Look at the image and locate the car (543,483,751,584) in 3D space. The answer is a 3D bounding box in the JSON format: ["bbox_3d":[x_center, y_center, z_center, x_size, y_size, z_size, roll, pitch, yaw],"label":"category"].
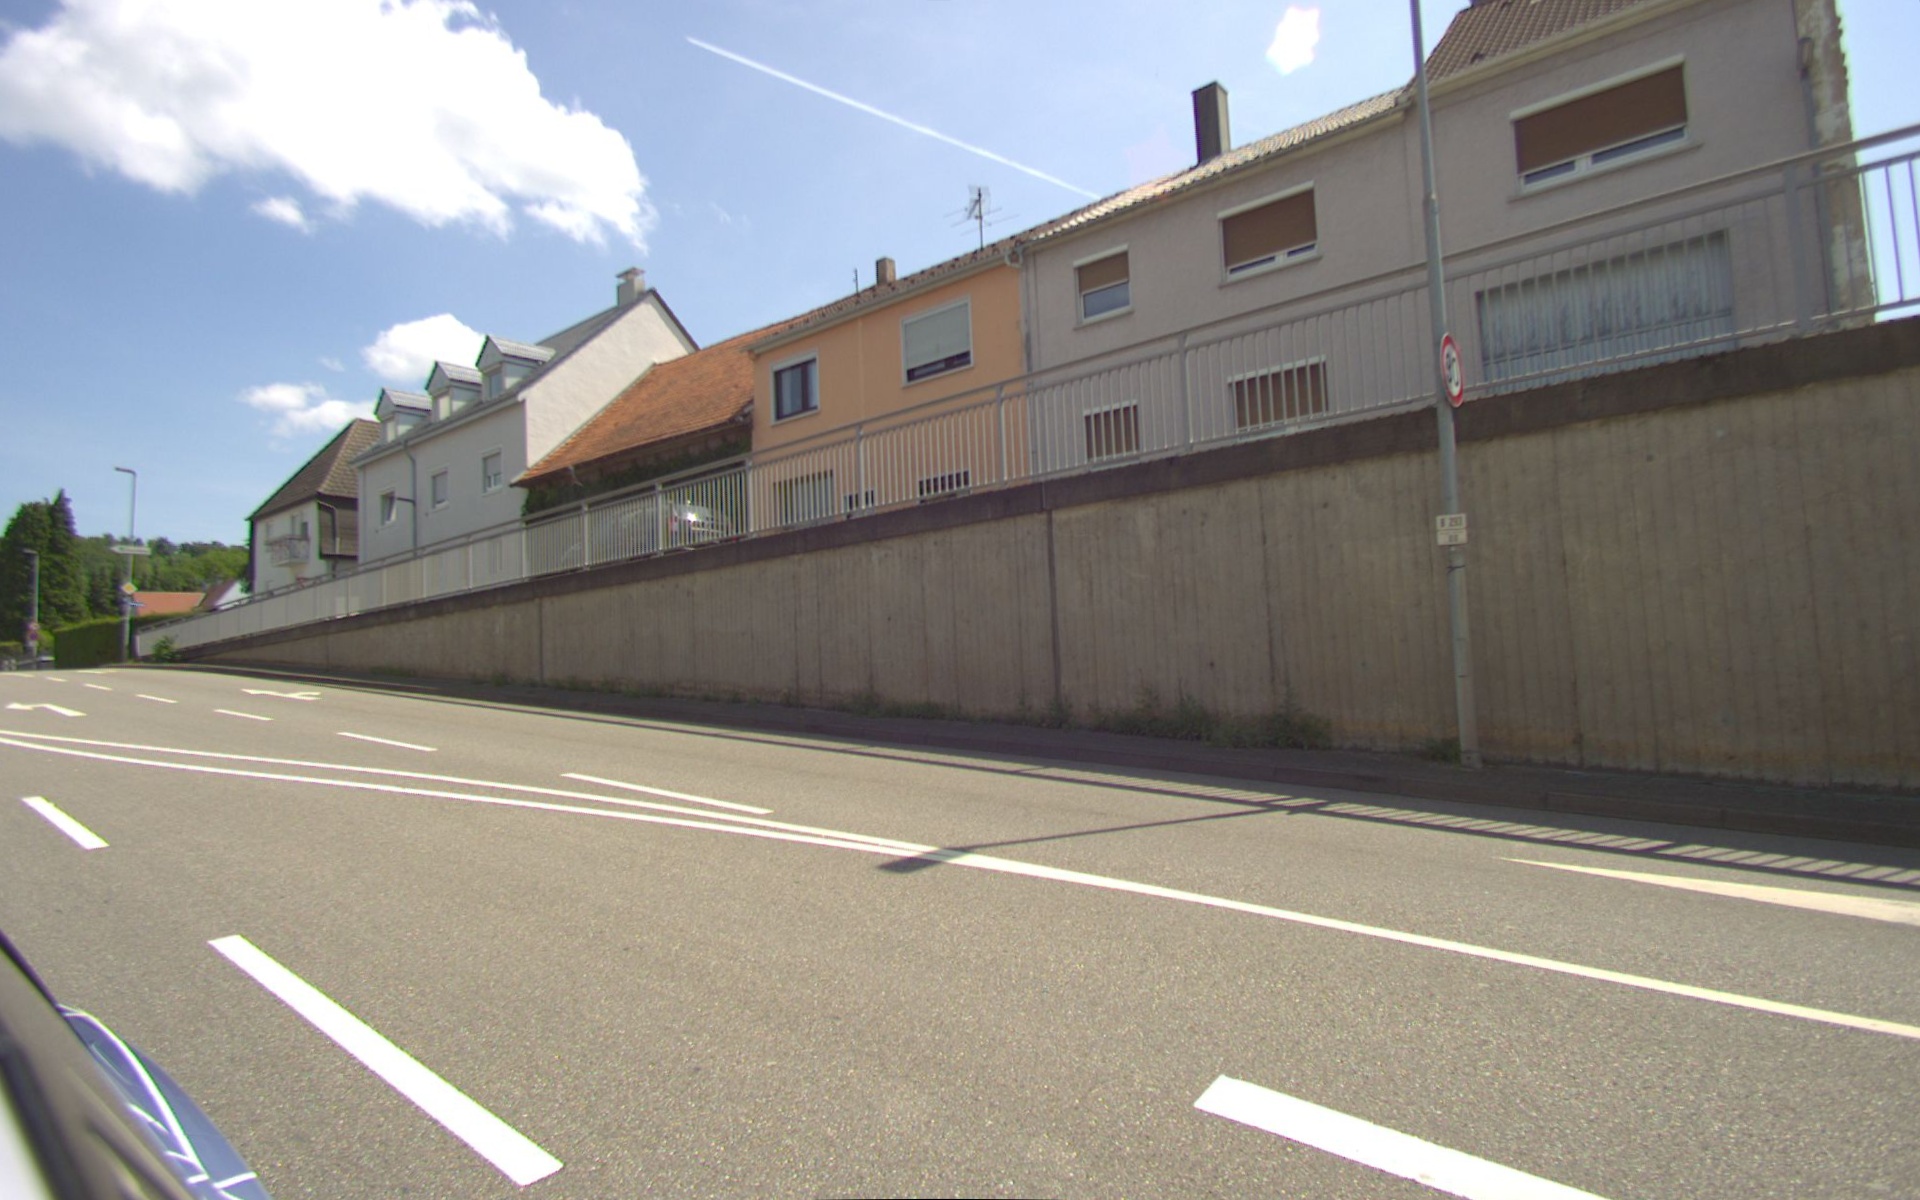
[{"bbox_3d":[-6.253,-1.206,19.962,4.388,1.416,1.768,-5,-4,39],"label":"car"}]
